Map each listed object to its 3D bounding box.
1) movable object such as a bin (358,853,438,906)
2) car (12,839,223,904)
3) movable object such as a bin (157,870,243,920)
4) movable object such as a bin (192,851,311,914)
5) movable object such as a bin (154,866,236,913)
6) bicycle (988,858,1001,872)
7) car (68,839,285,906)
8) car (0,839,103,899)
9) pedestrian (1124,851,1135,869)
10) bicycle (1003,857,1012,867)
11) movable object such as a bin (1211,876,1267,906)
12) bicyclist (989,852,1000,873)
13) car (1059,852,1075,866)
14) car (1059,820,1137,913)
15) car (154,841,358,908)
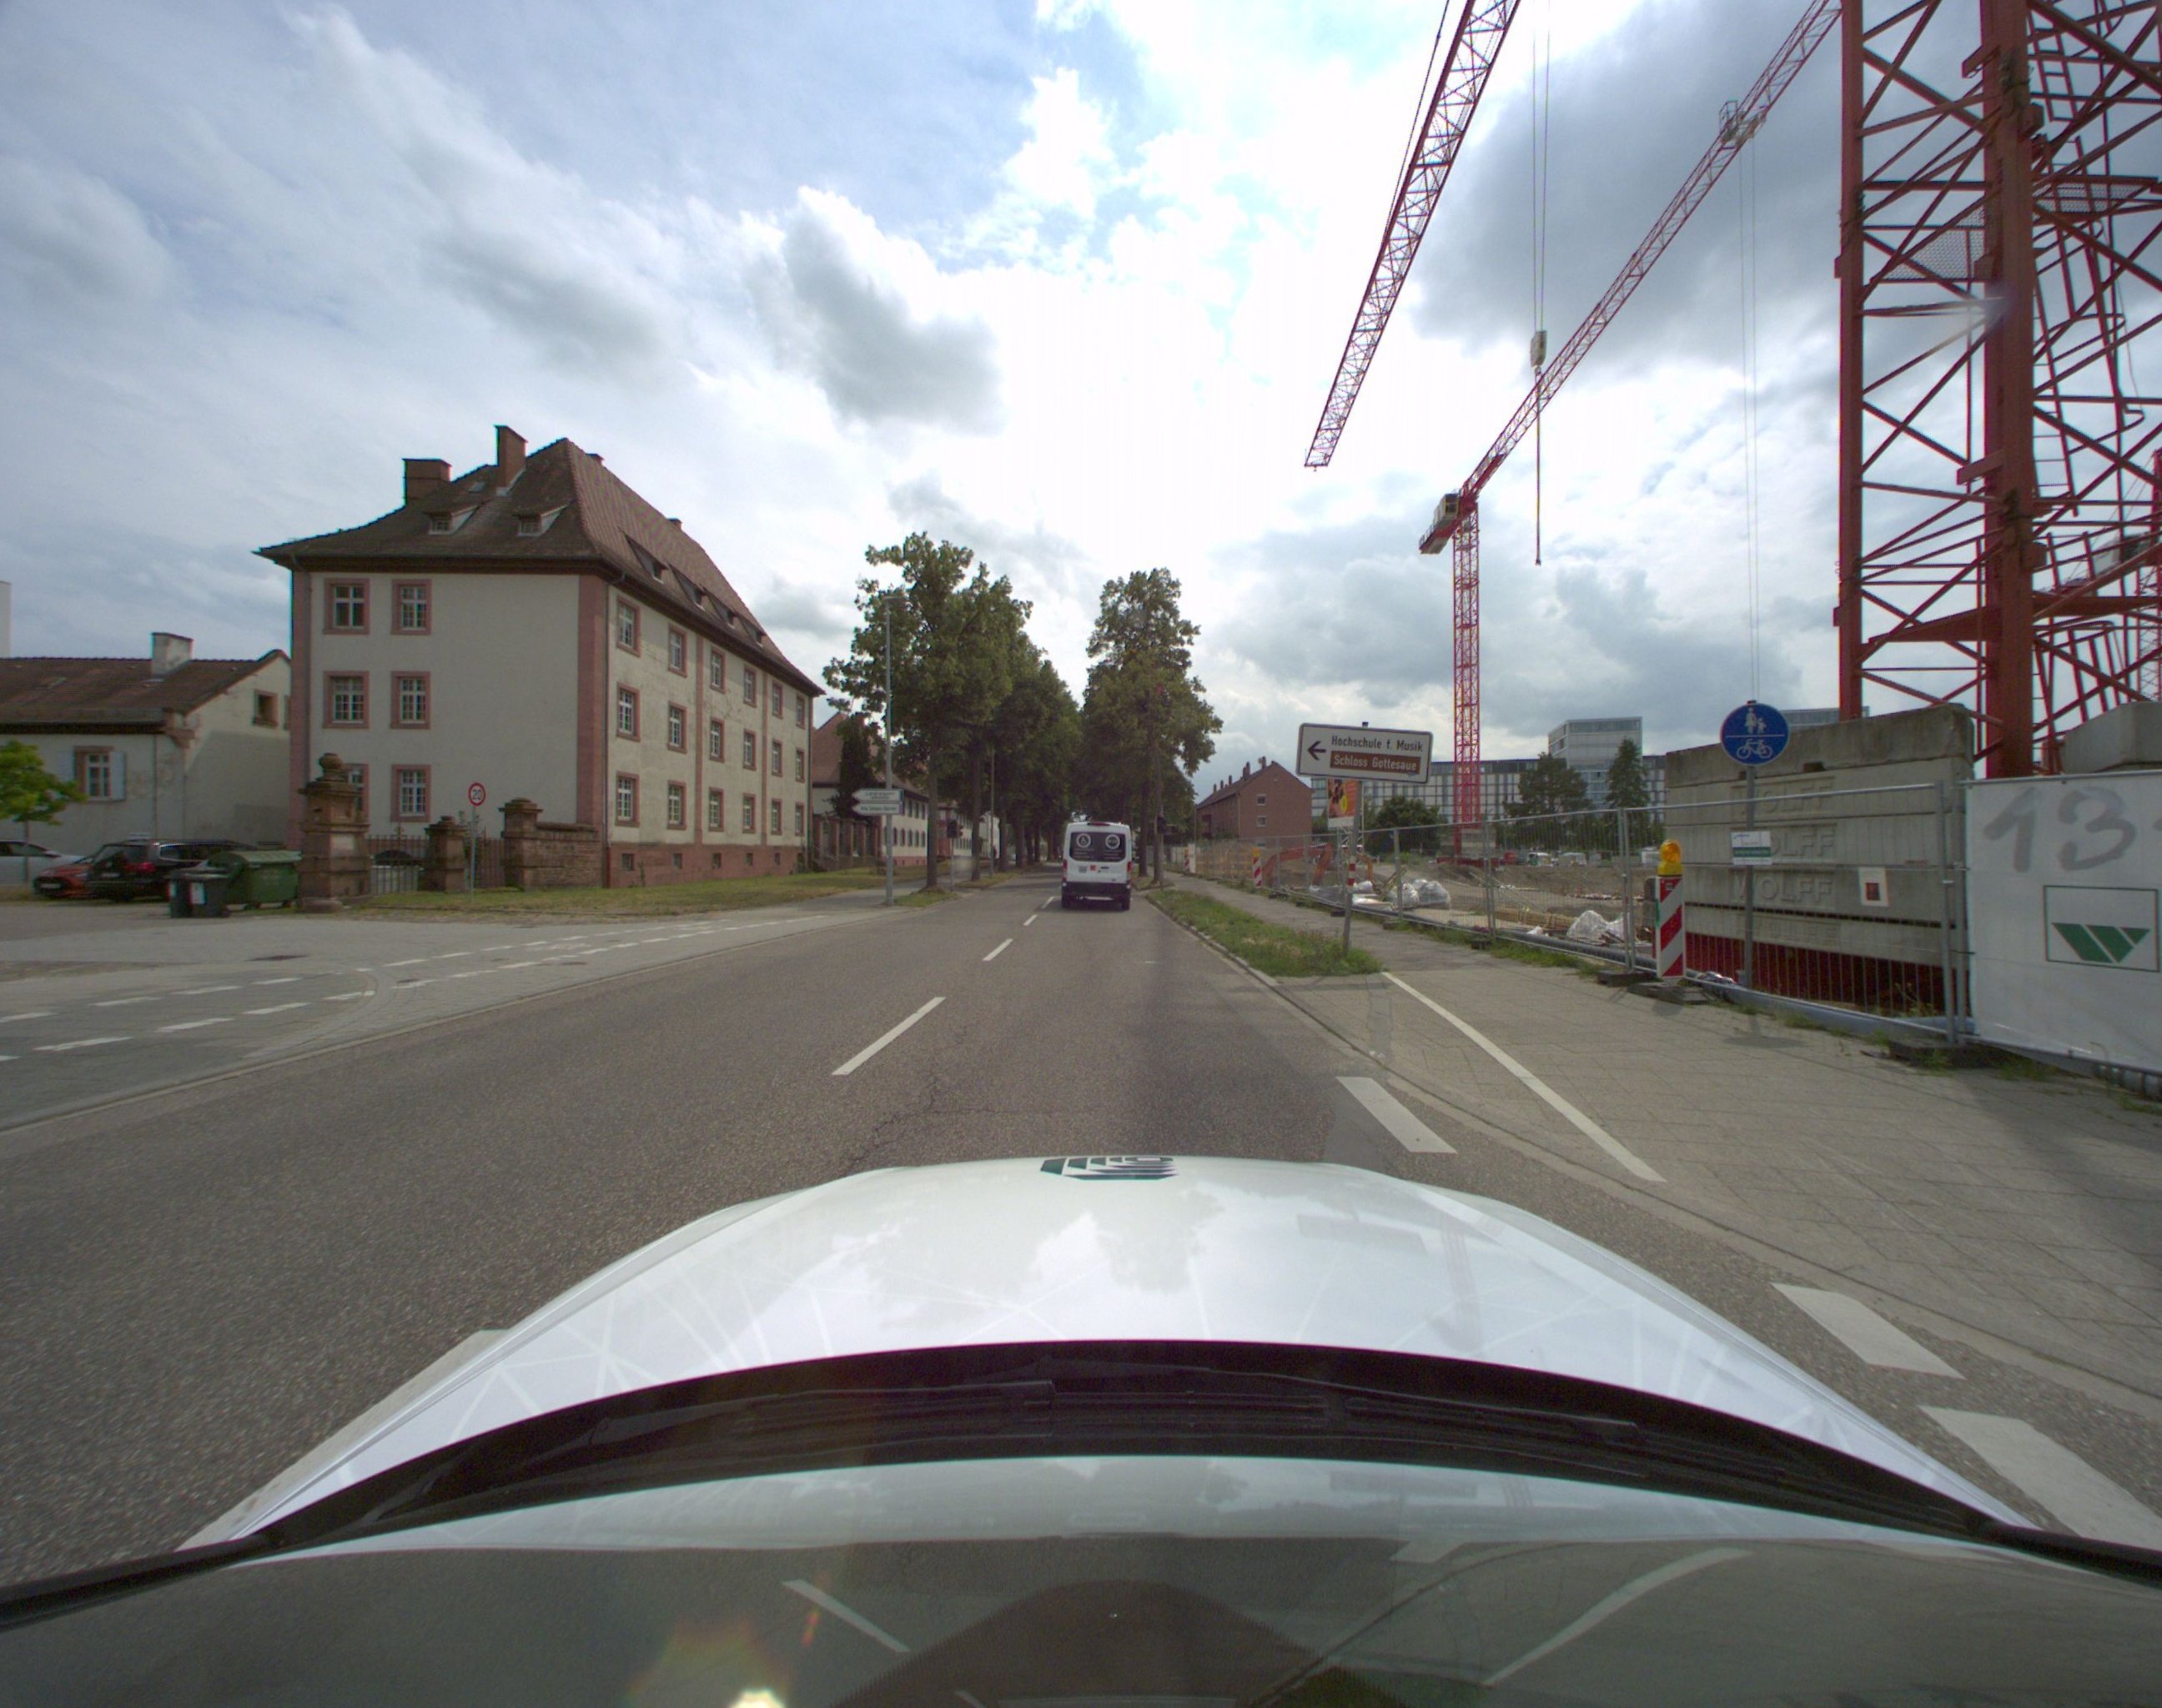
[{"bbox_3d":[-19.490,0.713,23.292,1.334,1.468,1.558,1,-1,-24],"label":"movable object such as a bin"},{"bbox_3d":[-28.409,0.448,24.213,1.760,1.710,3.698,0,2,2],"label":"car"},{"bbox_3d":[-18.847,0.865,17.435,1.034,1.033,0.710,0,-1,1],"label":"movable object such as a bin"},{"bbox_3d":[-19.919,0.669,19.611,1.197,1.468,1.571,0,-1,2],"label":"movable object such as a bin"},{"bbox_3d":[-19.951,0.800,18.358,1.034,1.033,0.710,0,-1,1],"label":"movable object such as a bin"},{"bbox_3d":[-7.041,0.894,66.152,0.720,1.095,2.151,4,0,0],"label":"bicycle"},{"bbox_3d":[-26.008,0.463,23.662,1.760,1.710,3.960,0,2,2],"label":"car"},{"bbox_3d":[-32.437,0.454,24.062,1.760,1.710,4.293,0,2,2],"label":"car"},{"bbox_3d":[5.069,0.596,84.652,0.875,1.814,0.893,-2,-1,19],"label":"pedestrian"},{"bbox_3d":[-8.263,0.880,91.995,0.720,1.095,2.225,4,0,0],"label":"bicycle"},{"bbox_3d":[14.242,3.304,73.273,4.648,2.590,3.145,-2,-1,14],"label":"movable object such as a bin"},{"bbox_3d":[-7.028,0.668,66.177,0.720,1.656,0.958,4,-1,0],"label":"bicyclist"},{"bbox_3d":[-1.704,0.590,102.016,1.765,1.659,4.258,-2,0,1],"label":"car"},{"bbox_3d":[0.415,0.386,24.695,2.058,2.540,3.996,2,-1,-3],"label":"car"},{"bbox_3d":[-23.715,0.511,23.648,1.760,1.710,3.960,0,2,2],"label":"car"}]
